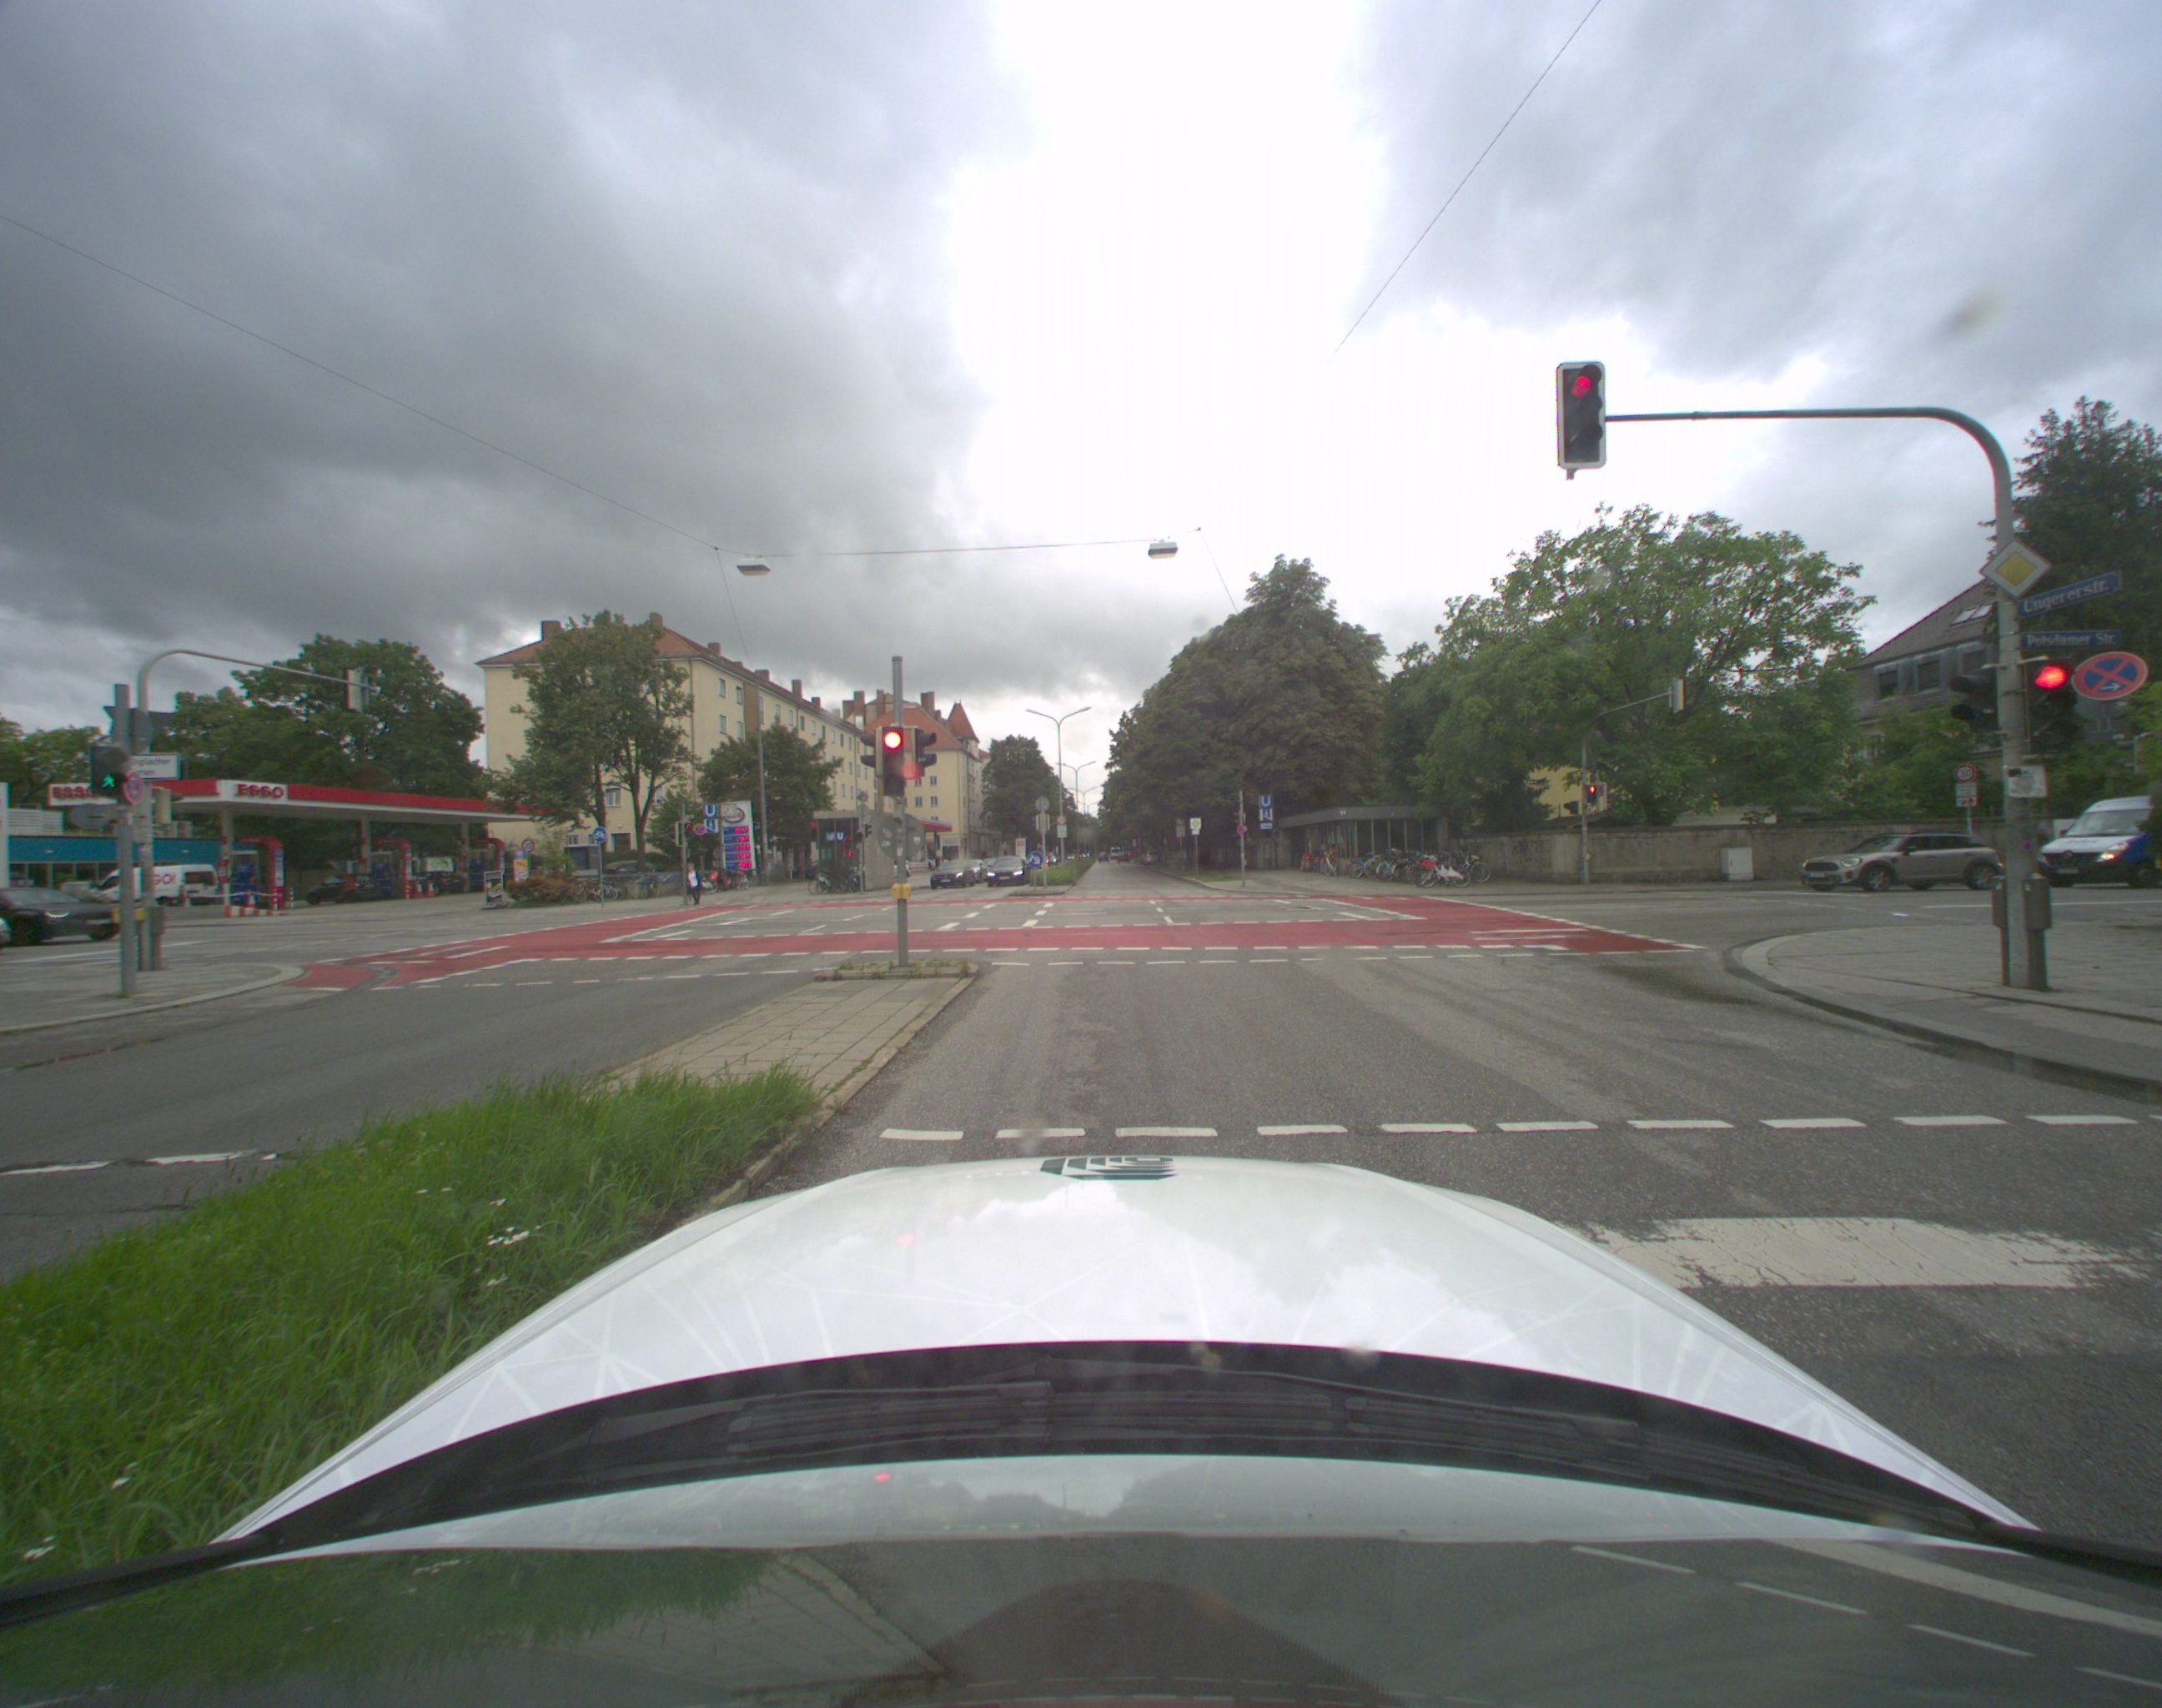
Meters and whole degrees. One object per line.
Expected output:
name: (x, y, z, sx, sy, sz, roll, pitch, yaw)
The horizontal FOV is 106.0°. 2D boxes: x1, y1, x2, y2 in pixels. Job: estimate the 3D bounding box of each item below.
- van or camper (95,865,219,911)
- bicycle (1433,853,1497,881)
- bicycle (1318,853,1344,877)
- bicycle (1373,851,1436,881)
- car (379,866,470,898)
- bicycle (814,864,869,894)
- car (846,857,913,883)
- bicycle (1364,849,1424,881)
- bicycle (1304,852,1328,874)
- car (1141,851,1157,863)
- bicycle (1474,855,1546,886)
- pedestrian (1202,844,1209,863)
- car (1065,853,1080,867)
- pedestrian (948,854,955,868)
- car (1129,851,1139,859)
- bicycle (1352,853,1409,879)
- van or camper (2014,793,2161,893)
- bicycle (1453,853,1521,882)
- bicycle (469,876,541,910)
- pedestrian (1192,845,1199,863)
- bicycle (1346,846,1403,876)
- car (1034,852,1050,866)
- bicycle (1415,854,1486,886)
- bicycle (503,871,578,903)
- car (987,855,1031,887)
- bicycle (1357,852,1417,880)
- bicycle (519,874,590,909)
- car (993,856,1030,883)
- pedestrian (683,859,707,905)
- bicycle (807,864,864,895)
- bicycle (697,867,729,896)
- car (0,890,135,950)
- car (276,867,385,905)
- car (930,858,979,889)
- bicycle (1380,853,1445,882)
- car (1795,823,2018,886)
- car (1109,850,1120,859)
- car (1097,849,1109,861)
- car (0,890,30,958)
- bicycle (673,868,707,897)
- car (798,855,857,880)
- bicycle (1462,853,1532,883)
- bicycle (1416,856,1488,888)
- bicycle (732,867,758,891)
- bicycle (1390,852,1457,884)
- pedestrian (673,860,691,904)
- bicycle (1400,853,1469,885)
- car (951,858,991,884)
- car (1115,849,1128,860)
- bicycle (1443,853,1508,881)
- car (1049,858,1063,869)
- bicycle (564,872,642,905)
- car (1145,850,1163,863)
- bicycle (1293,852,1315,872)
van or camper: (-51.811, 1.877, 45.749, 4.526, 2.323, 1.917, -2, 0, -3)
bicycle: (14.933, 0.500, 31.729, 2.130, 1.014, 0.636, -2, 0, 9)
bicycle: (11.281, 0.484, 36.826, 0.555, 1.014, 2.015, -2, 0, 0)
bicycle: (12.383, 0.449, 31.242, 2.130, 1.086, 0.604, -2, 0, 9)
car: (-39.988, 1.693, 49.649, 3.973, 1.784, 1.858, -2, 0, 1)
bicycle: (-10.863, 1.127, 36.958, 2.275, 1.304, 0.694, -2, 0, 2)
car: (-13.481, 1.048, 54.569, 1.793, 1.608, 3.991, -2, 0, 44)
bicycle: (12.275, 0.432, 31.983, 2.130, 1.178, 0.604, -2, 0, 9)
bicycle: (11.378, 0.405, 39.557, 0.555, 1.014, 2.015, -2, 0, 0)
car: (8.405, 0.345, 100.662, 1.737, 1.363, 3.807, -2, 0, 1)
bicycle: (15.020, 0.587, 28.581, 2.130, 1.014, 0.636, -2, 0, 9)
pedestrian: (11.750, -0.051, 76.865, 0.674, 1.682, 0.684, -2, 0, 7)
car: (-0.892, 0.597, 86.511, 1.462, 1.399, 3.701, -2, 0, 1)
pedestrian: (-15.662, 0.880, 98.612, 0.693, 1.638, 0.738, -2, 0, 2)
car: (10.483, 0.202, 160.392, 1.737, 1.427, 3.900, -2, 0, 1)
bicycle: (12.323, 0.479, 33.566, 2.130, 1.014, 0.604, -2, 0, 9)
van or camper: (28.597, -0.347, 21.393, 5.528, 2.469, 2.069, -2, 0, 3)
bicycle: (15.020, 0.495, 30.148, 2.130, 1.014, 0.636, -2, 0, 9)
bicycle: (-22.724, 1.539, 32.168, 2.178, 1.236, 0.764, -2, 0, -8)
pedestrian: (10.787, -0.019, 76.733, 0.674, 1.682, 0.684, -2, 0, 7)
bicycle: (12.340, 0.286, 34.285, 2.130, 1.218, 0.604, -2, 0, 9)
car: (-5.041, 0.598, 105.249, 1.870, 1.668, 3.999, -2, 0, 0)
bicycle: (12.825, 0.553, 28.326, 2.130, 1.014, 0.636, -2, 0, 9)
bicycle: (-21.777, 1.306, 32.876, 2.393, 1.251, 0.789, 0, -1, -9)
car: (-3.634, 0.818, 41.598, 1.753, 1.493, 4.001, -2, 0, 1)
bicycle: (12.267, 0.494, 32.685, 2.130, 1.062, 0.604, -2, 0, 9)
bicycle: (-20.791, 1.467, 32.216, 2.180, 1.236, 0.763, -2, 0, -10)
car: (-4.178, 0.900, 49.310, 1.753, 1.493, 4.001, -2, 0, 1)
pedestrian: (-14.506, 1.043, 30.607, 0.530, 1.695, 0.579, -2, 0, 12)
bicycle: (-10.911, 1.128, 36.179, 2.262, 1.304, 0.704, -2, 0, 2)
bicycle: (-17.066, 1.251, 37.798, 0.607, 1.236, 2.183, -2, 0, -5)
car: (-27.663, 1.735, 21.505, 3.532, 1.412, 1.666, -2, 0, 4)
car: (-39.543, 1.685, 42.975, 3.973, 1.784, 1.858, -2, 0, 1)
car: (-6.556, 0.972, 42.603, 1.753, 1.460, 4.001, -2, 0, 1)
bicycle: (12.403, 0.512, 30.512, 2.130, 1.014, 0.604, -2, 0, 9)
car: (22.213, 0.018, 22.045, 4.149, 1.514, 1.697, -2, 0, 4)
car: (6.799, 0.037, 165.743, 1.986, 1.756, 4.001, -2, 0, 1)
car: (3.533, 0.139, 128.590, 1.850, 1.684, 4.001, -2, 0, 1)
car: (-26.438, 1.671, 18.202, 3.609, 1.517, 1.663, -2, 0, -2)
bicycle: (-17.748, 1.271, 36.984, 0.607, 1.236, 2.183, -2, 0, -5)
car: (-19.706, 1.023, 63.488, 3.976, 1.838, 1.879, -2, 0, -1)
bicycle: (14.991, 0.490, 29.380, 2.130, 1.014, 0.636, -2, 0, 9)
bicycle: (12.609, 0.606, 27.706, 2.130, 1.014, 0.604, -2, 0, 9)
bicycle: (-17.282, 1.283, 41.951, 0.607, 1.145, 1.962, -2, 0, -5)
bicycle: (12.510, 0.502, 29.794, 2.130, 1.101, 0.604, -2, 0, 9)
pedestrian: (-15.977, 1.114, 32.626, 0.593, 1.695, 0.571, -2, 0, -29)
bicycle: (12.629, 0.550, 29.136, 2.130, 1.071, 0.604, -2, 0, 9)
car: (-6.625, 1.009, 49.455, 1.753, 1.460, 4.001, -2, 0, 1)
car: (6.239, 0.047, 124.887, 1.915, 1.684, 4.002, 0, 0, 2)
bicycle: (14.963, 0.497, 30.943, 2.130, 1.014, 0.636, -2, 0, 9)
car: (-3.621, 1.354, 118.231, 1.753, 1.493, 4.001, -2, 0, 1)
bicycle: (-19.482, 1.390, 33.270, 2.720, 1.251, 0.786, 0, -1, -29)
car: (8.080, 0.301, 90.536, 1.737, 1.363, 3.807, -2, 0, 1)
bicycle: (11.768, 0.426, 42.968, 0.555, 1.014, 2.015, -2, 0, 0)
